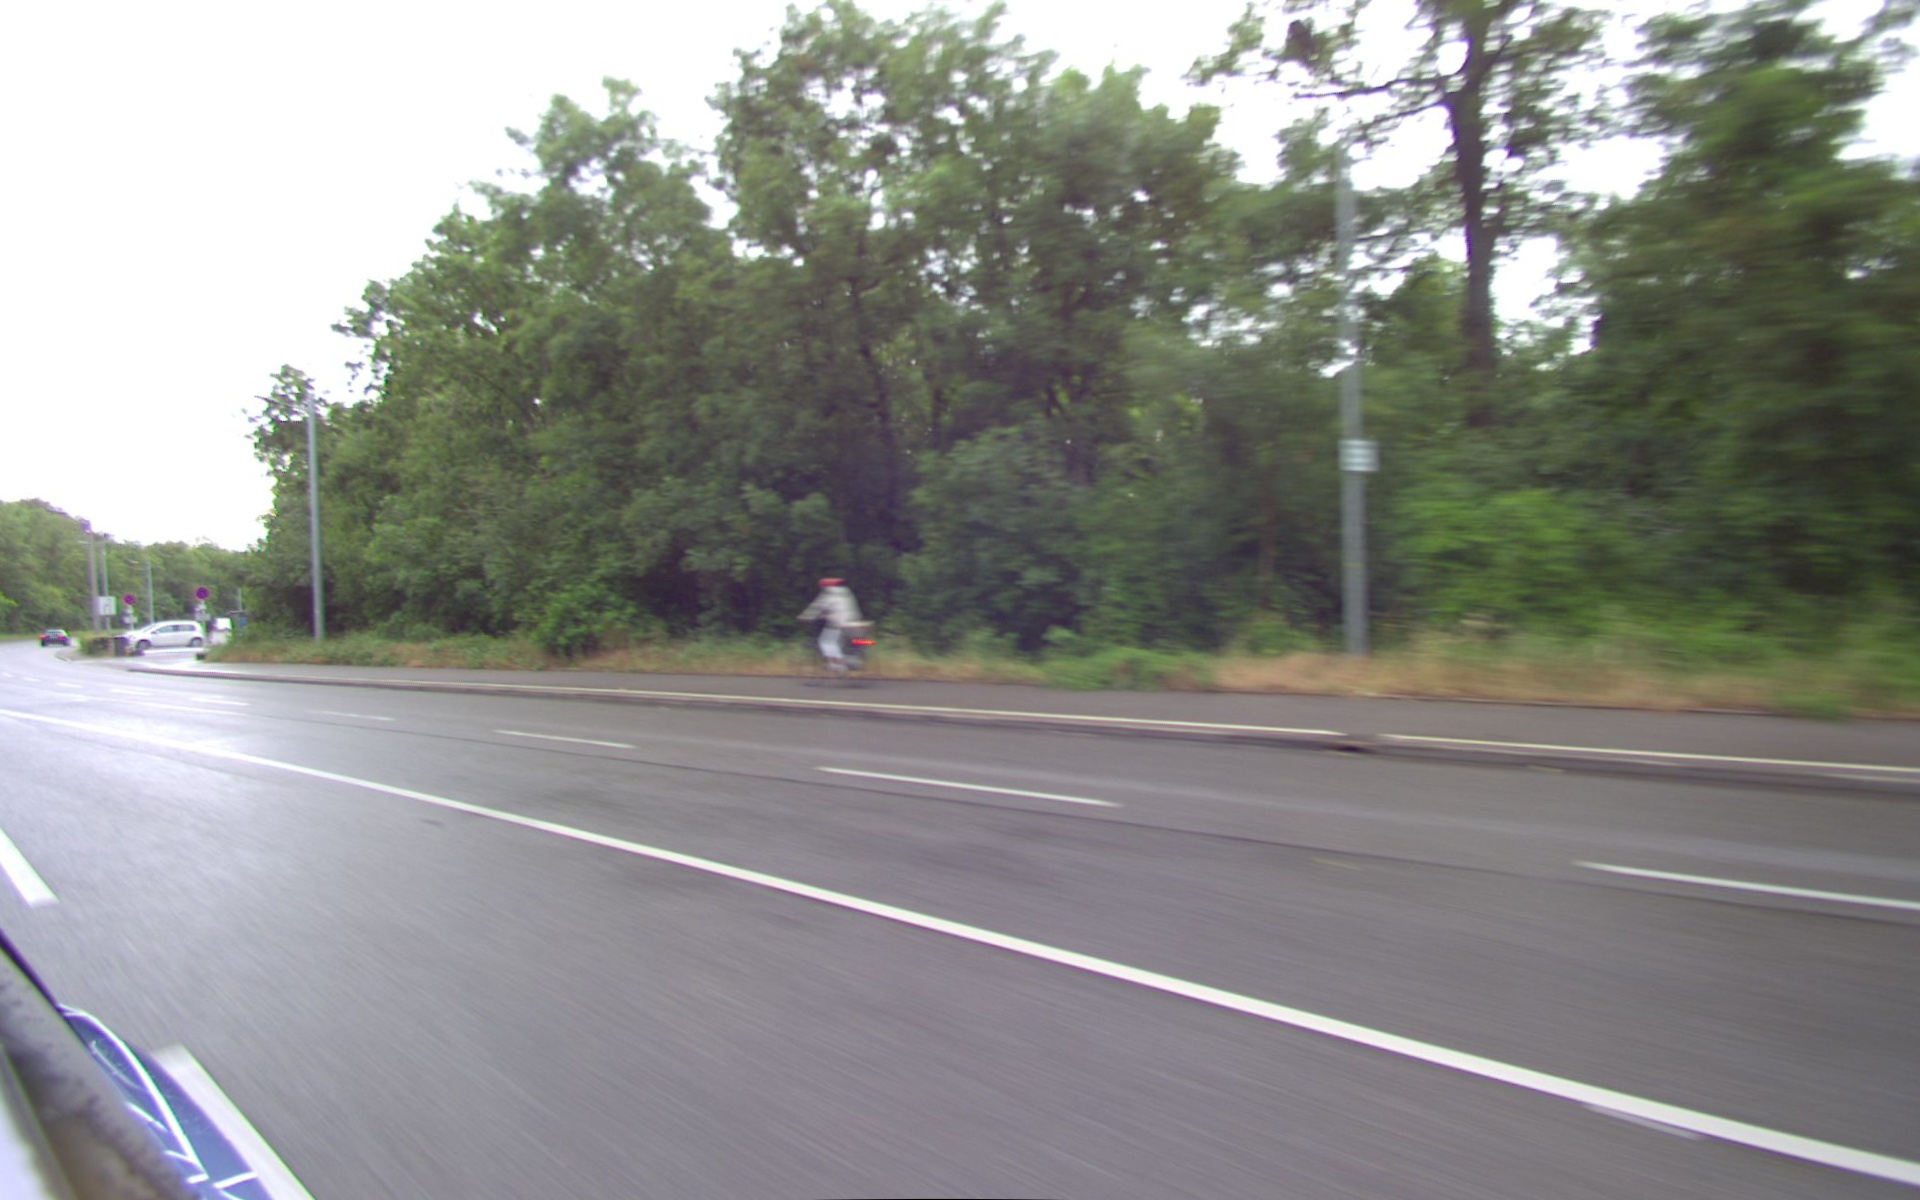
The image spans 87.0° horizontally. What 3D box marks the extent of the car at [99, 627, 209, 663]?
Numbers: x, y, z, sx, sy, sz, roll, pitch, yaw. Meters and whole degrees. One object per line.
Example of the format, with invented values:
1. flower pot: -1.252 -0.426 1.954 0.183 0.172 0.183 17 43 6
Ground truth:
1. car: -45.490 2.512 57.160 4.686 1.729 1.896 -2 1 -44

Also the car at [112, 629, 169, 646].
1. car: -78.852 3.603 97.389 4.147 1.495 1.909 0 -2 -44

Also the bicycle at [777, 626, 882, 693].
1. bicycle: -2.155 0.960 16.514 2.017 1.011 0.447 -2 1 42

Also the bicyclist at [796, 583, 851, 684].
1. bicyclist: -2.231 0.539 16.509 0.700 1.598 0.572 -2 -2 43

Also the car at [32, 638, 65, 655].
1. car: -80.029 4.064 88.920 1.828 1.484 3.921 1 -2 -37
